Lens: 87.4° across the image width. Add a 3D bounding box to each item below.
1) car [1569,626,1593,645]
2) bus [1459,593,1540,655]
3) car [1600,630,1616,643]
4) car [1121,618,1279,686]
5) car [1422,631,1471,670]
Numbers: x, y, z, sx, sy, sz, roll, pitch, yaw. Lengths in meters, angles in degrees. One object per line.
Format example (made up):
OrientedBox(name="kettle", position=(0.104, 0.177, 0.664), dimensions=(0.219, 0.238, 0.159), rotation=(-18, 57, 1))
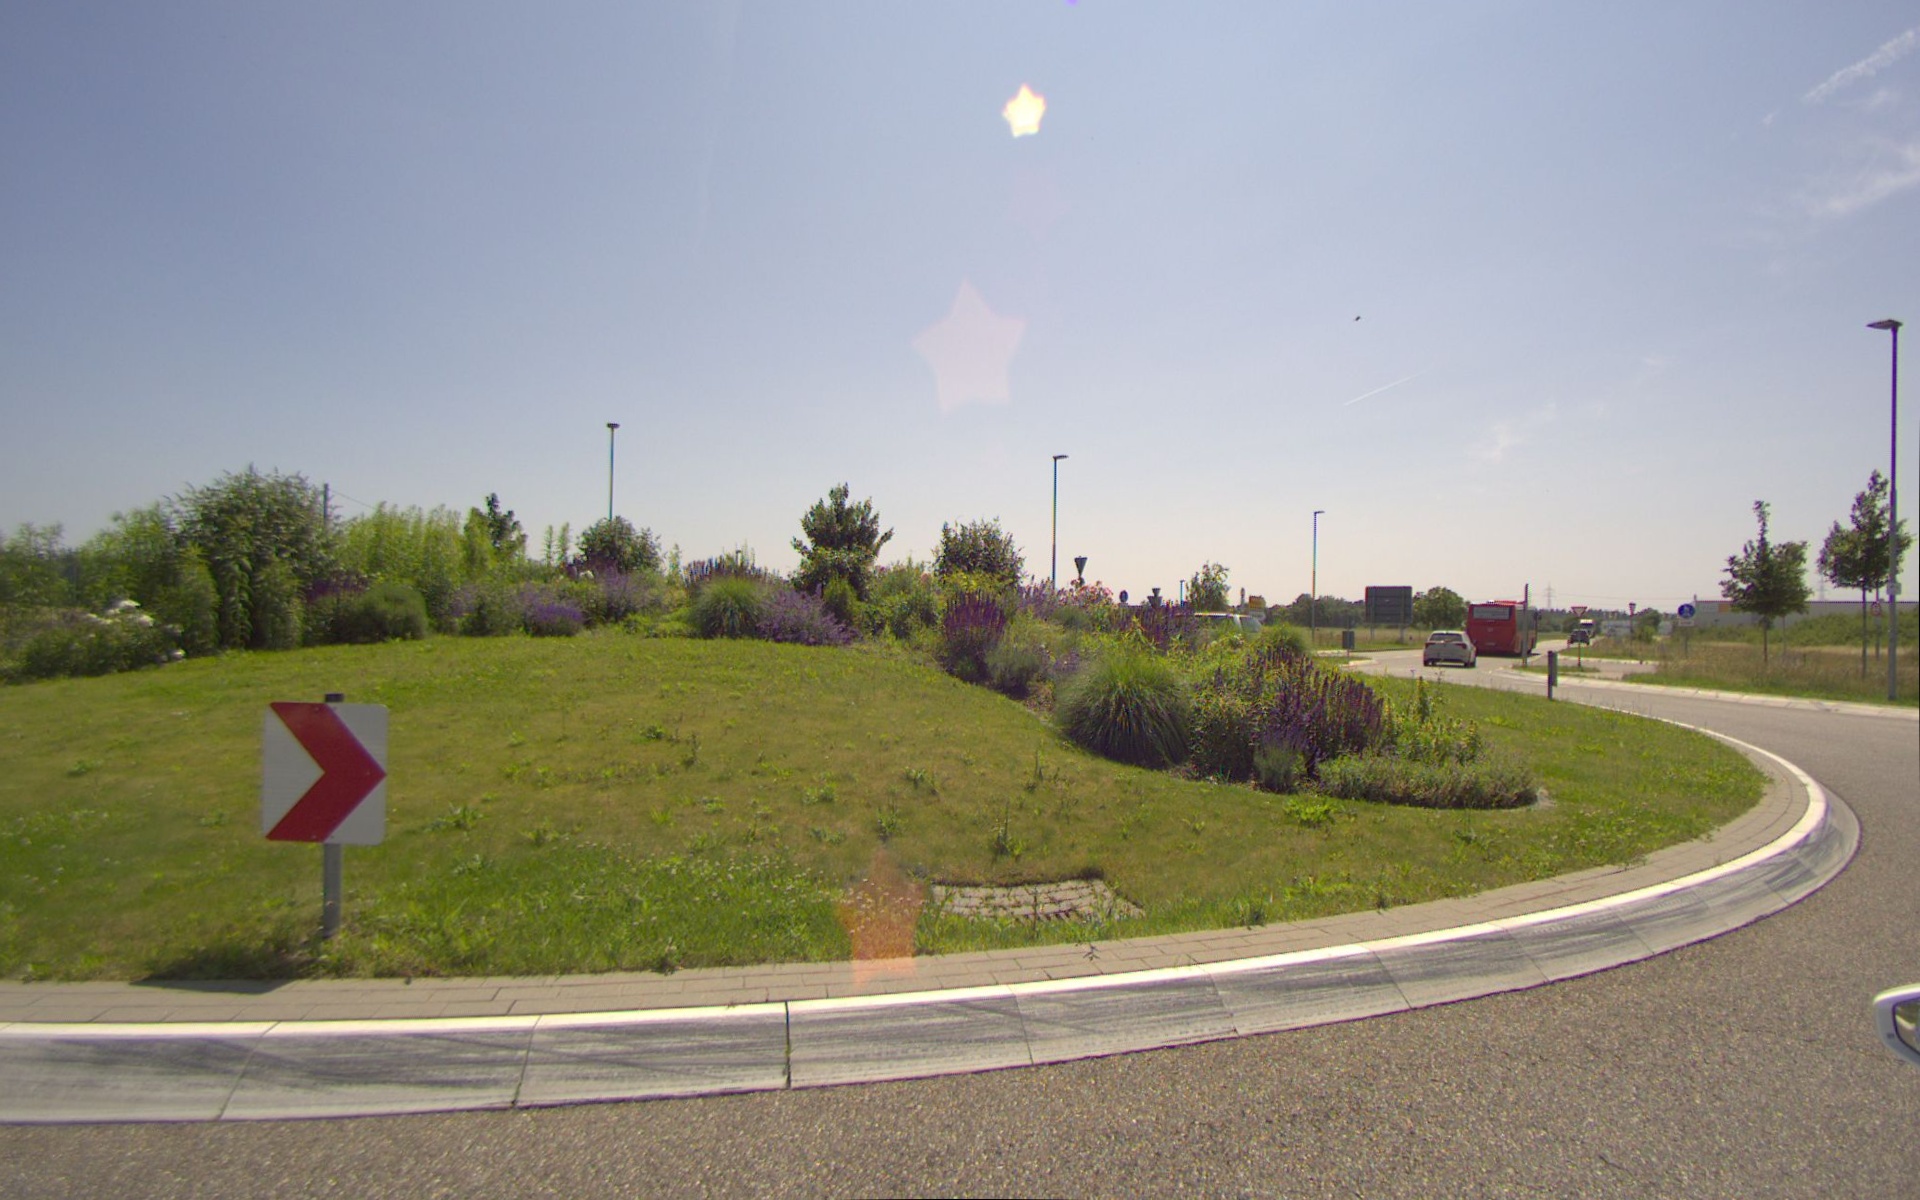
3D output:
OrientedBox(name="car", position=(68.499, 3.909, 110.735), dimensions=(1.968, 1.951, 3.986), rotation=(0, -1, 36))
OrientedBox(name="bus", position=(32.585, 1.485, 60.397), dimensions=(3.257, 3.352, 11.958), rotation=(0, -1, 33))
OrientedBox(name="car", position=(96.213, 5.476, 149.084), dimensions=(1.966, 1.871, 4.161), rotation=(0, -1, 33))
OrientedBox(name="car", position=(6.457, 1.357, 27.367), dimensions=(1.763, 1.696, 3.956), rotation=(2, -1, -38))
OrientedBox(name="car", position=(19.997, 2.020, 41.244), dimensions=(1.697, 1.483, 3.597), rotation=(0, -1, 28))
